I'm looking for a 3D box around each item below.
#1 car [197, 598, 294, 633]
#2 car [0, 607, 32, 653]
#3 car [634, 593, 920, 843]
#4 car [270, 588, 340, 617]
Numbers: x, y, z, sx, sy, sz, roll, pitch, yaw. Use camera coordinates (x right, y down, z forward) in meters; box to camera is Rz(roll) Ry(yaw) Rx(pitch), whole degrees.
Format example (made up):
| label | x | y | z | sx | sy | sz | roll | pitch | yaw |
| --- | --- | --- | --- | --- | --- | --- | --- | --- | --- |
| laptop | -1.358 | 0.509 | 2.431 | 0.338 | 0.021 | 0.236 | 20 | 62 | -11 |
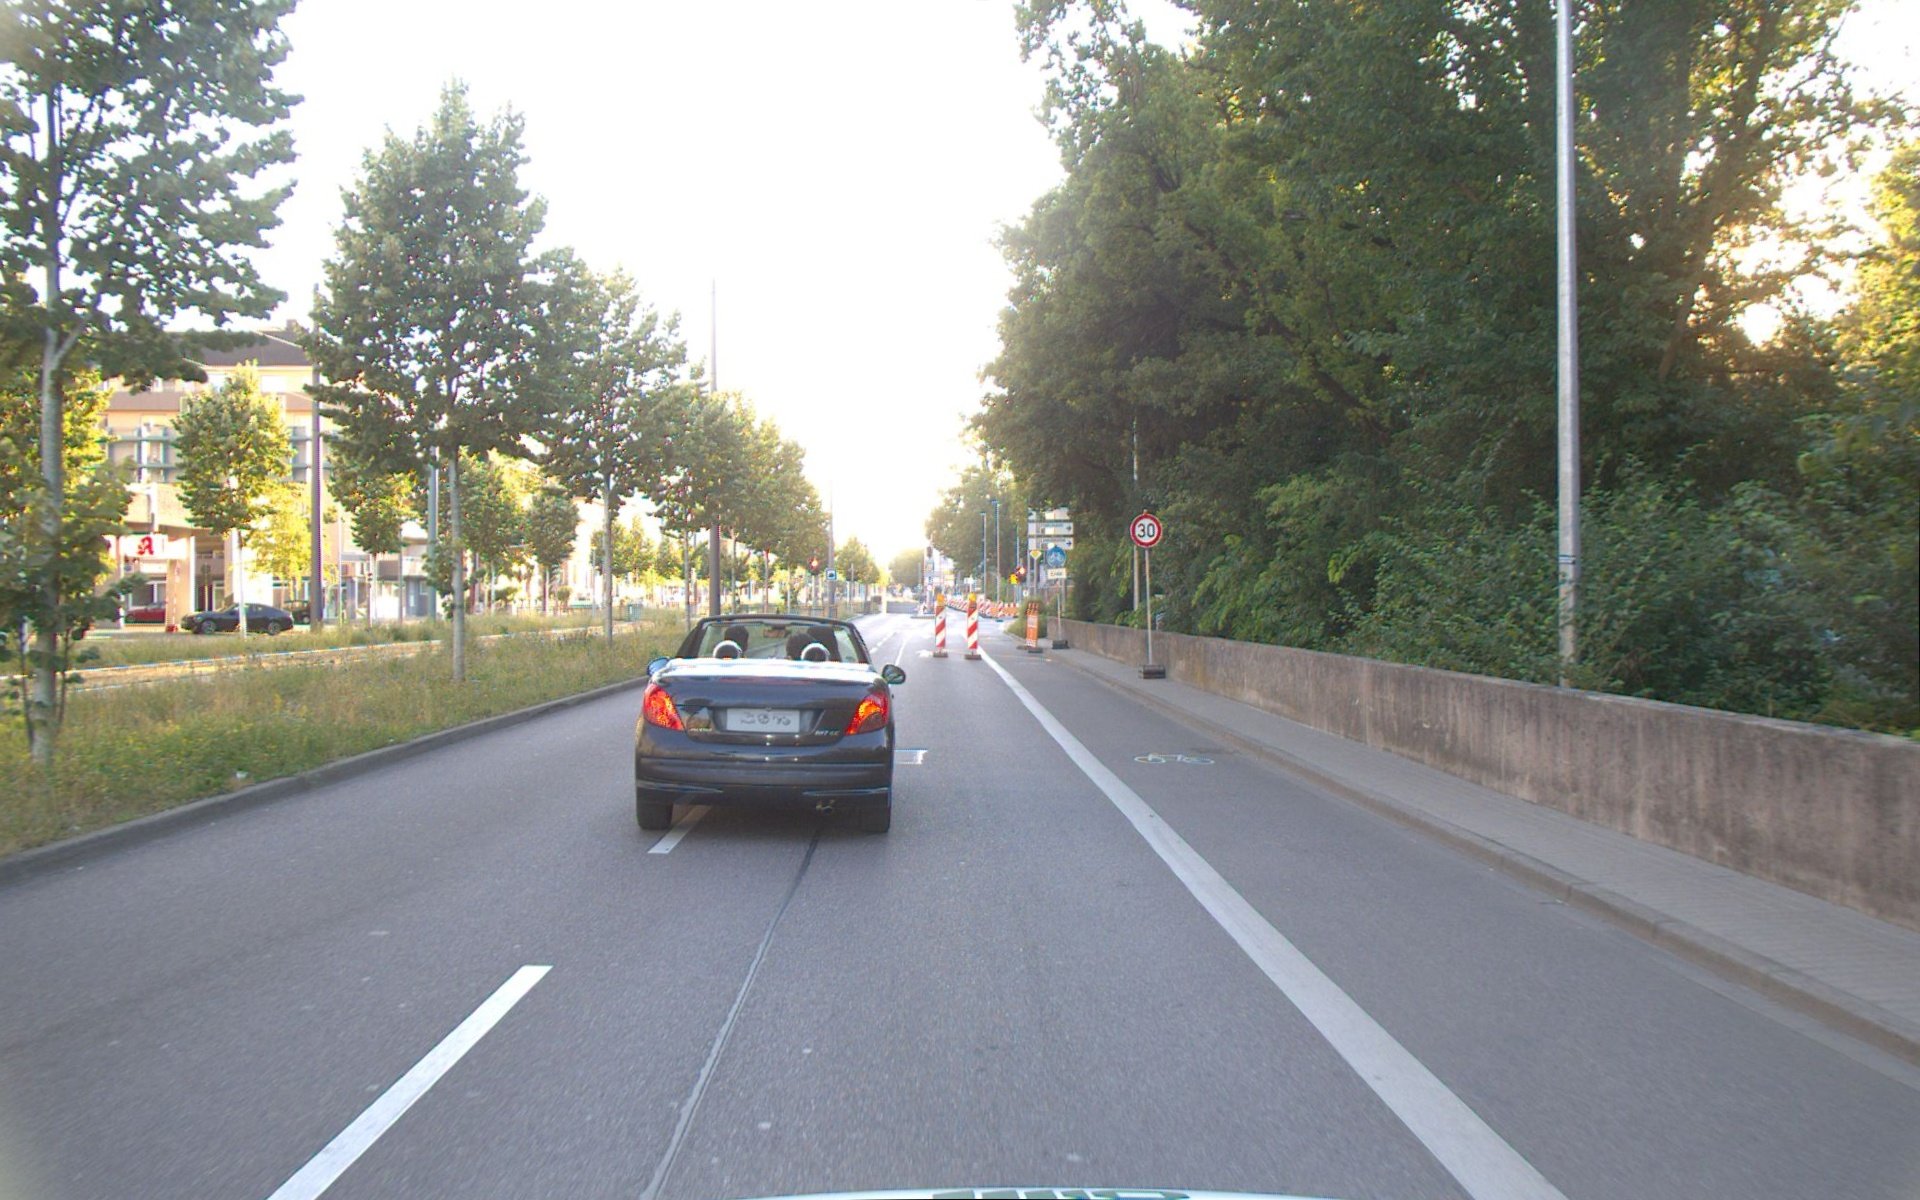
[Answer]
| label | x | y | z | sx | sy | sz | roll | pitch | yaw |
| --- | --- | --- | --- | --- | --- | --- | --- | --- | --- |
| car | -32.492 | 0.680 | 75.293 | 3.702 | 1.475 | 1.715 | -1 | -1 | -45 |
| car | -32.582 | 0.965 | 53.614 | 4.093 | 1.461 | 1.799 | 2 | 0 | -41 |
| car | -1.373 | 0.708 | 11.879 | 1.687 | 1.475 | 3.894 | 1 | 0 | -8 |
| car | -44.147 | 0.163 | 111.579 | 3.854 | 1.878 | 2.190 | -1 | 0 | -2 |
